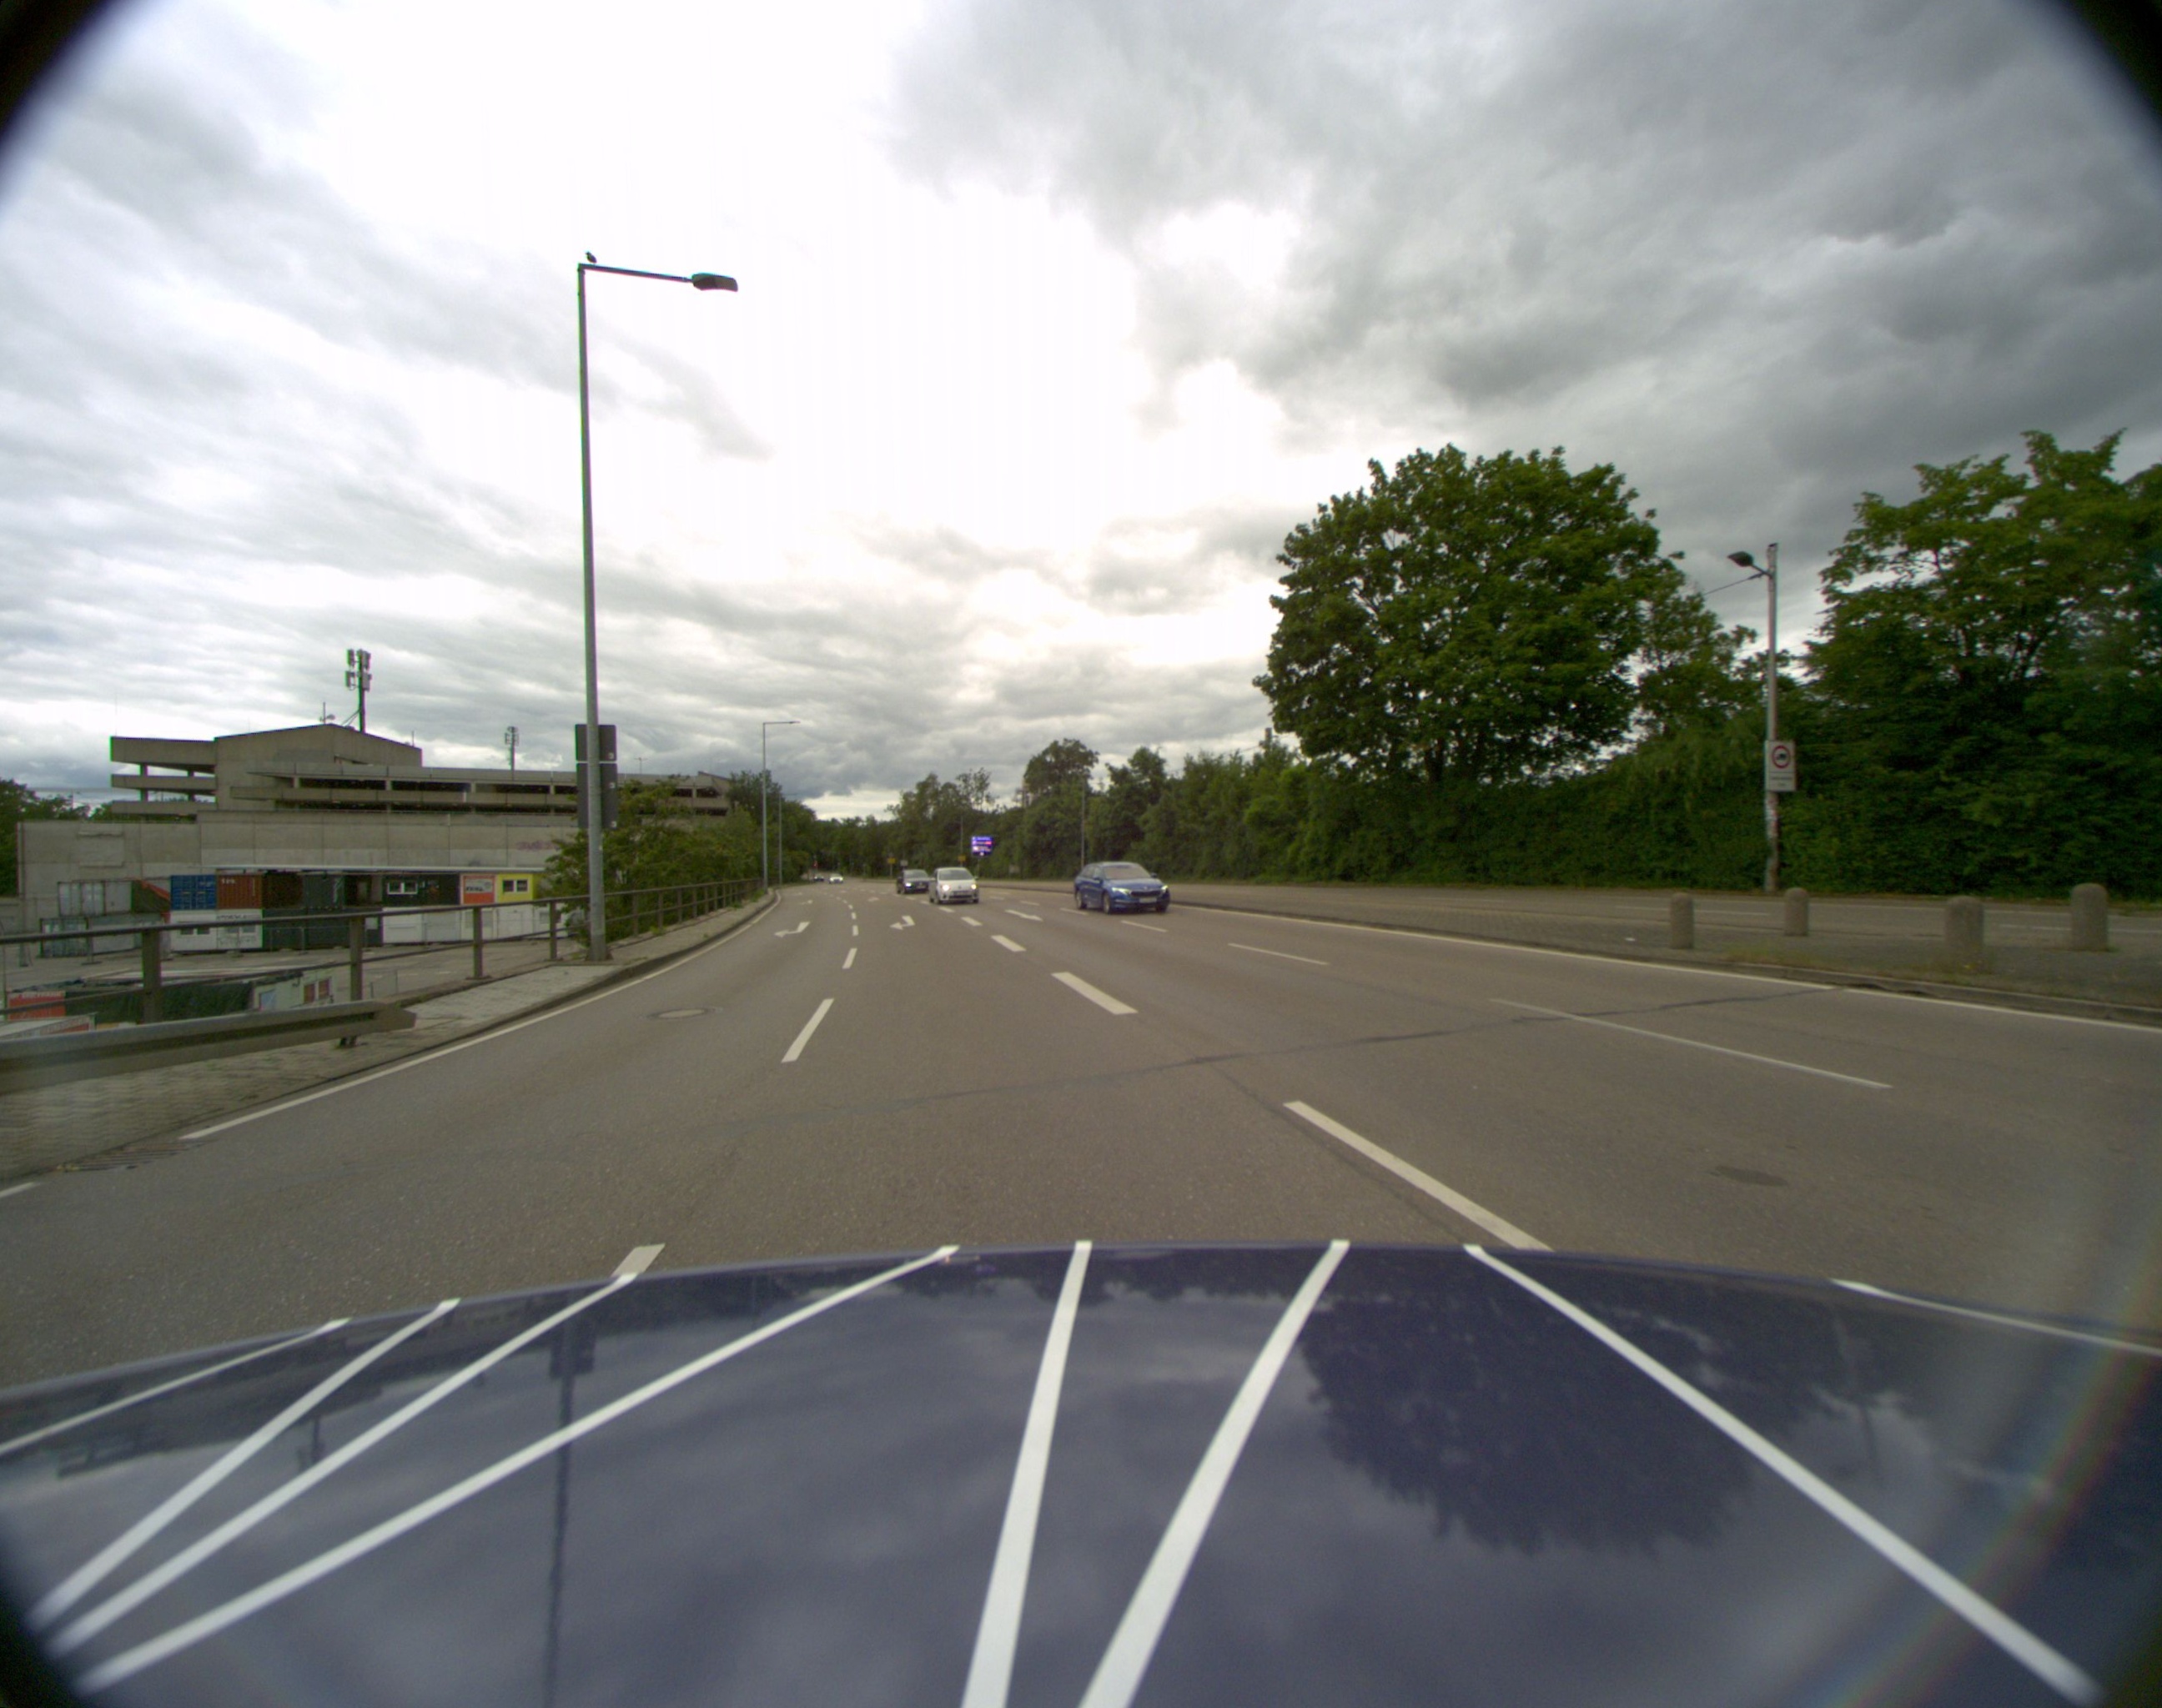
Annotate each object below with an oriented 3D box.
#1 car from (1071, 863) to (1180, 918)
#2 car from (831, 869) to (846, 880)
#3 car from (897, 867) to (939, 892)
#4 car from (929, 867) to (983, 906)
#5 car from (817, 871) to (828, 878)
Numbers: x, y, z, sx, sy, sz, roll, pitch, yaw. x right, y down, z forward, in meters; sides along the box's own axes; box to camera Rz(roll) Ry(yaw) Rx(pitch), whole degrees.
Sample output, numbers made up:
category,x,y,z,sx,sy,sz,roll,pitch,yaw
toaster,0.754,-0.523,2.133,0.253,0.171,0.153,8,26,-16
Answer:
category,x,y,z,sx,sy,sz,roll,pitch,yaw
car,1.194,1.017,22.765,1.844,1.408,4.574,-2,0,-16
car,-35.664,3.001,111.778,1.868,1.408,4.331,-2,0,-21
car,-9.870,1.504,45.718,1.868,1.408,4.331,-2,0,-20
car,-5.163,1.273,31.009,1.611,1.408,3.586,-2,0,-18
car,-53.211,4.212,156.350,1.867,1.408,4.331,-2,0,-20
